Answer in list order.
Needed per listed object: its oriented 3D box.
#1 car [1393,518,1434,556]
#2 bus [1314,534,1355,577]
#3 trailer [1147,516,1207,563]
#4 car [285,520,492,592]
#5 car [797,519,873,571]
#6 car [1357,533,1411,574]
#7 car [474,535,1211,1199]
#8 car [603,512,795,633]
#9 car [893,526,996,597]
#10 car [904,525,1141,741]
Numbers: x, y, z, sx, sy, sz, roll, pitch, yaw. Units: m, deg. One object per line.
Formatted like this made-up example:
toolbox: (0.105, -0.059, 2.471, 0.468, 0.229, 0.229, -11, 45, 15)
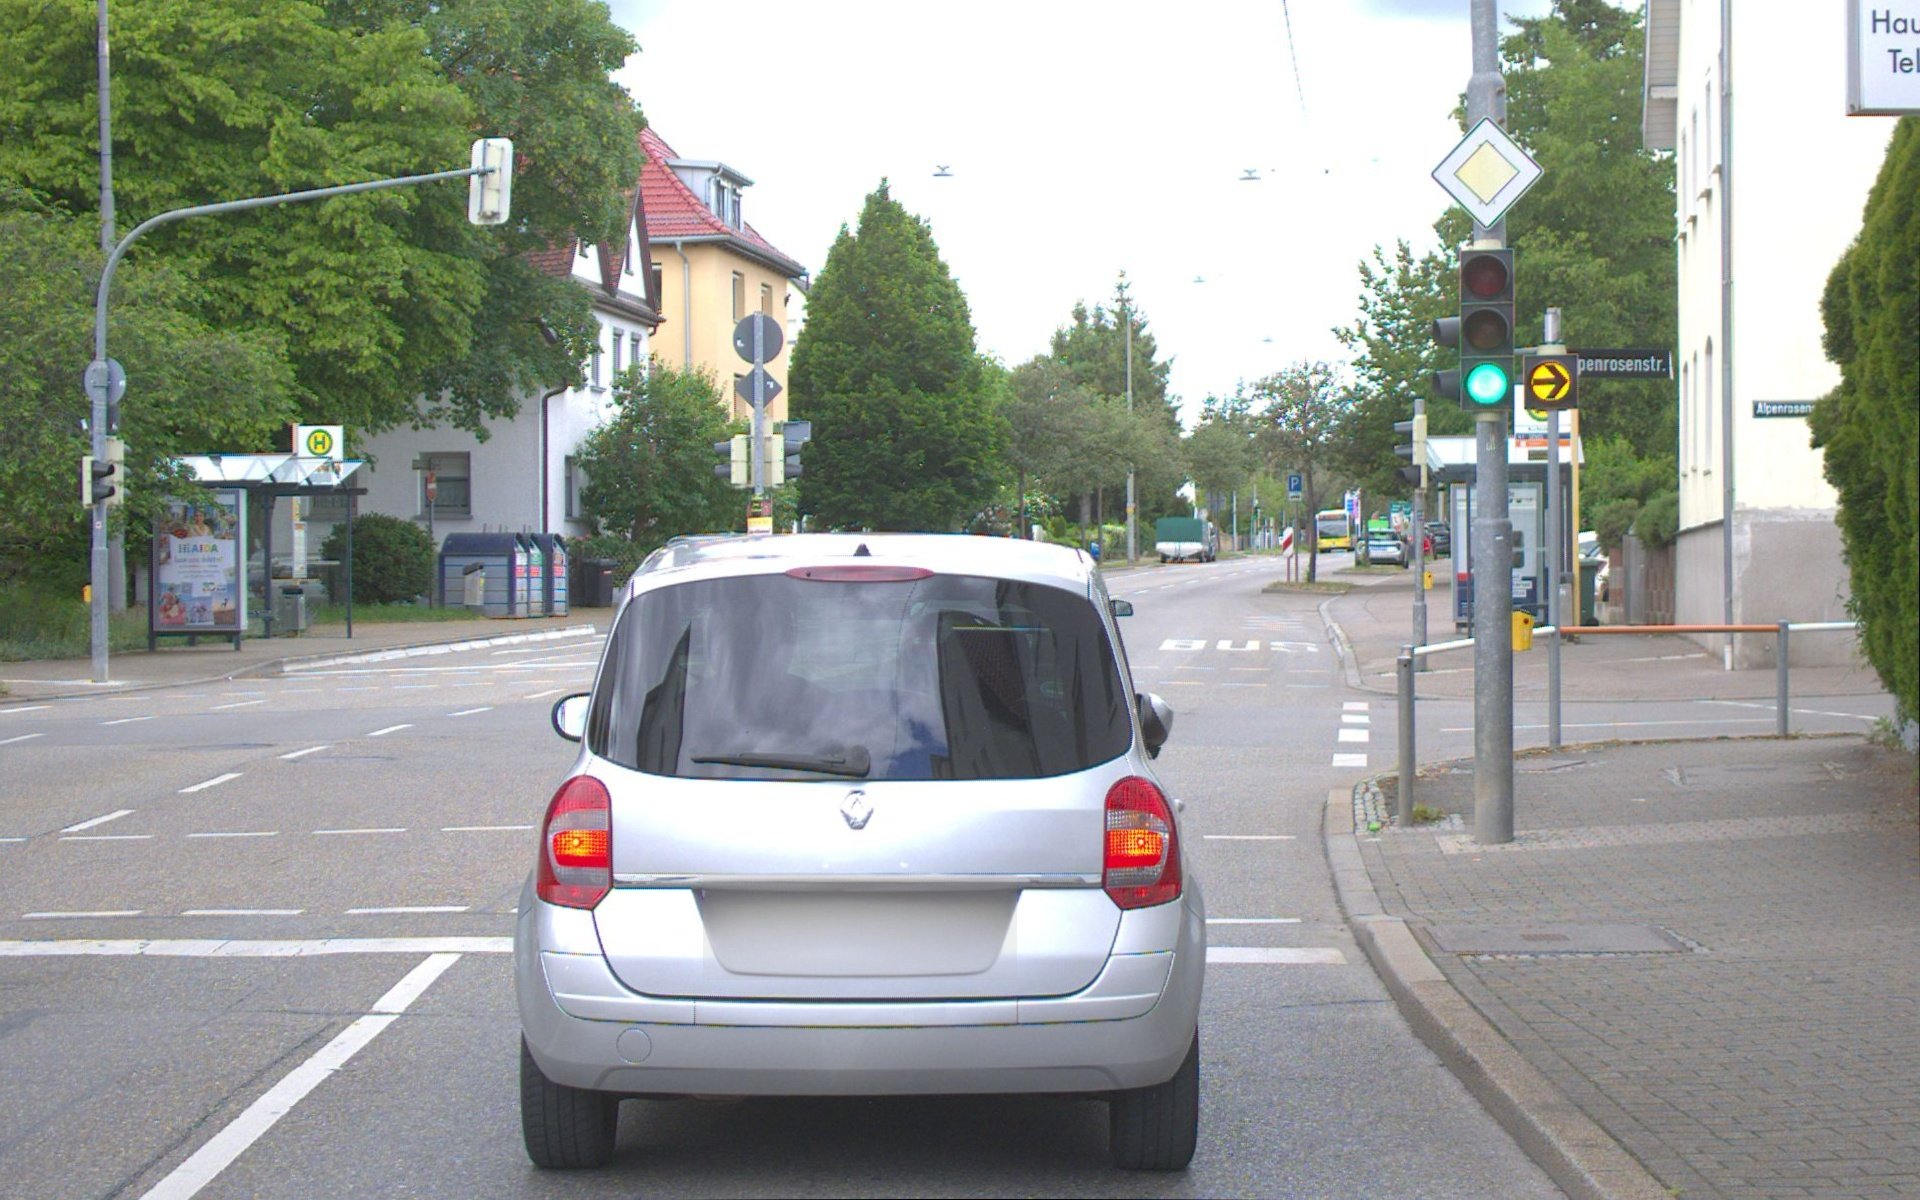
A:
car: (18.937, -2.625, 143.530, 1.663, 1.559, 4.097, 0, 1, 7)
bus: (28.670, -3.429, 262.592, 2.633, 3.075, 12.066, -2, 1, 8)
trailer: (10.197, -2.815, 161.202, 2.313, 2.079, 5.871, 1, 0, 8)
car: (-12.196, -0.929, 73.420, 3.988, 1.327, 1.722, -3, 0, 8)
car: (-4.039, -1.794, 111.685, 1.806, 1.559, 4.617, -3, 1, 6)
car: (14.887, -1.618, 120.534, 1.651, 1.378, 3.998, 0, 0, 10)
car: (-0.216, 0.632, 9.702, 1.630, 1.551, 4.000, 1, 0, 1)
car: (-3.757, -0.384, 50.257, 1.759, 1.629, 4.593, -2, 0, 9)
car: (-0.293, -0.785, 71.424, 1.564, 1.415, 4.129, -1, 0, 8)
car: (0.577, 0.234, 28.662, 1.829, 1.670, 3.574, -1, 1, 3)
